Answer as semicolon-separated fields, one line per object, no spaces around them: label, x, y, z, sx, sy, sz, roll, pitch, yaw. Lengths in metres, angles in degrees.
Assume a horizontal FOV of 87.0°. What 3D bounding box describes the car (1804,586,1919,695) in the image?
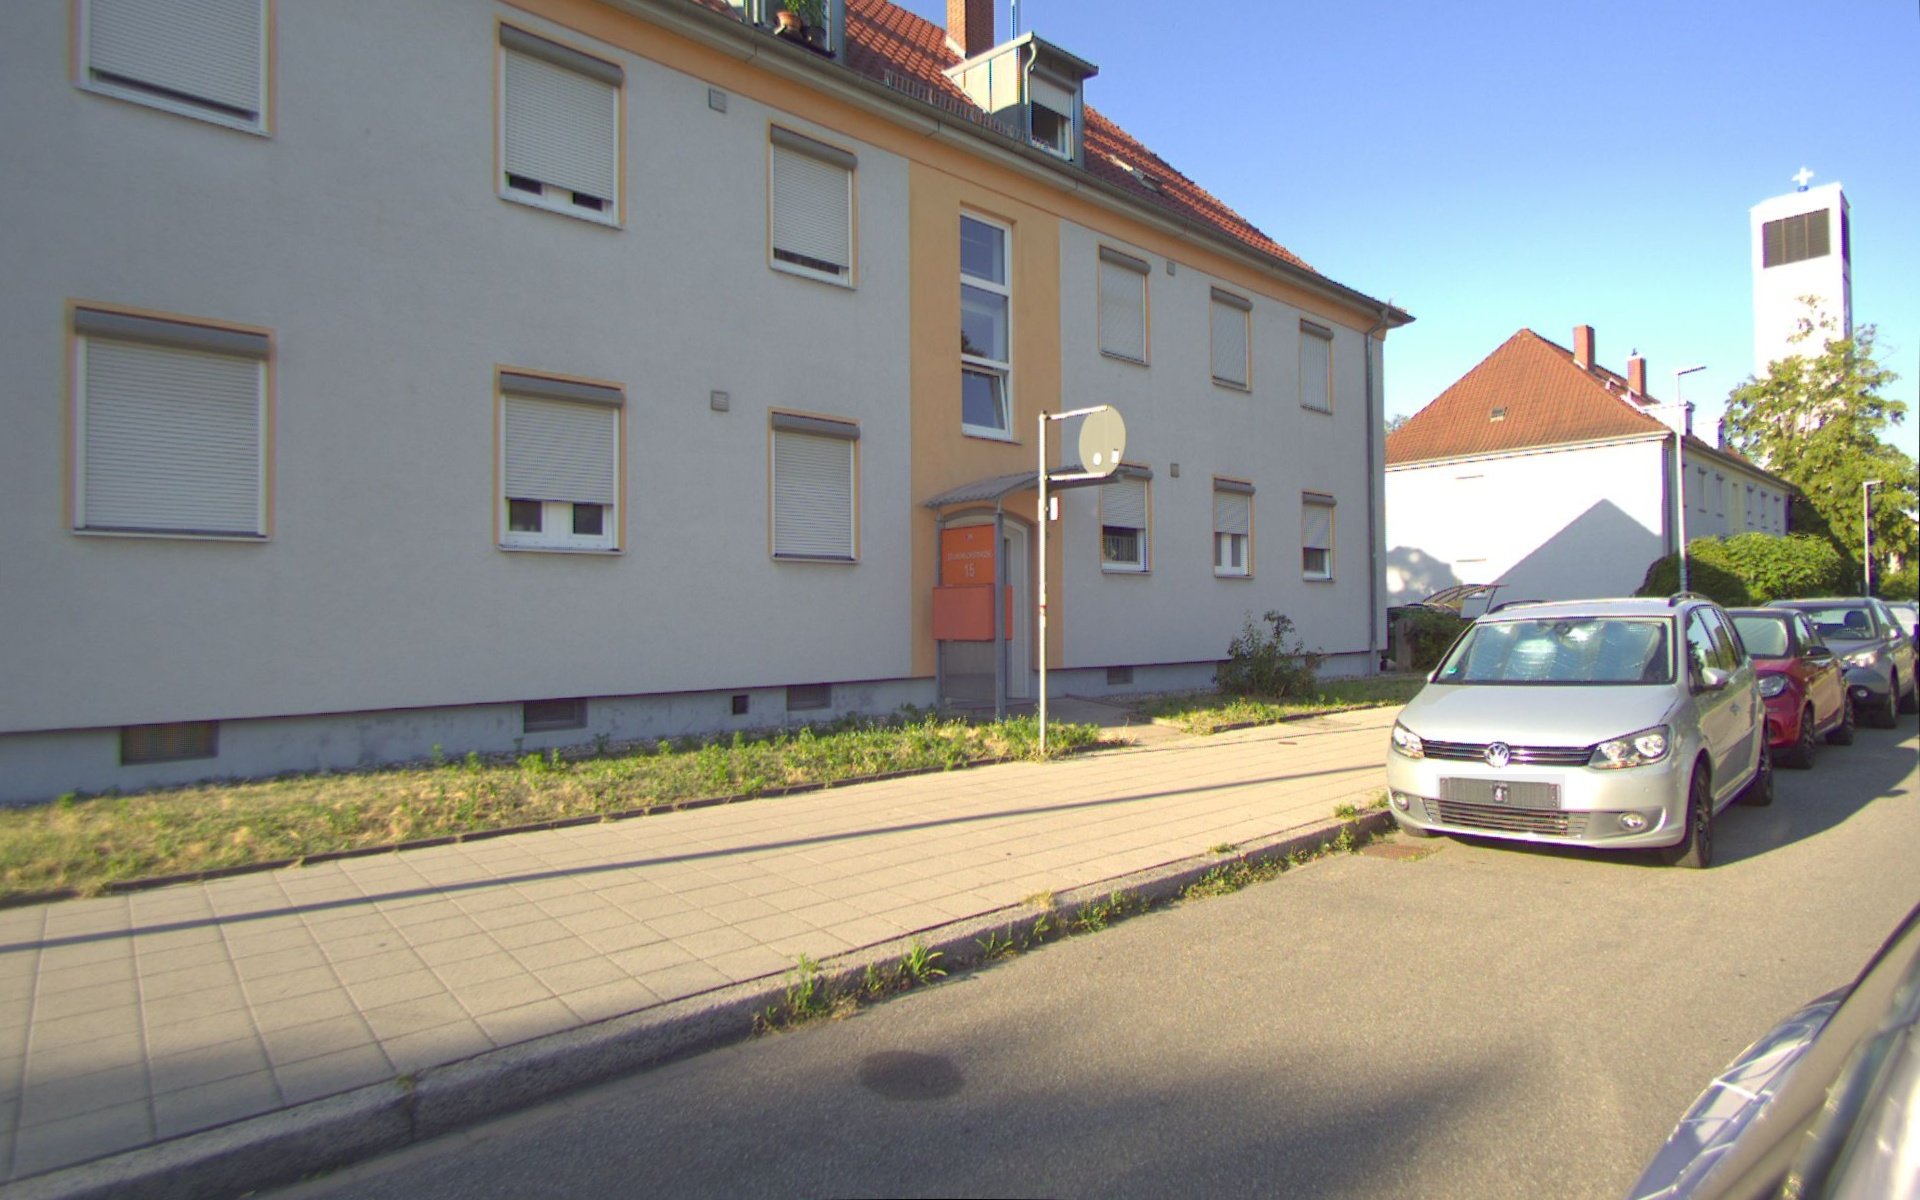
car;16.345;0.657;17.759;3.933;1.717;1.846;0;-3;-44

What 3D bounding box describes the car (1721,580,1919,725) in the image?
car;12.107;0.648;13.994;3.933;1.717;1.846;0;-3;-44

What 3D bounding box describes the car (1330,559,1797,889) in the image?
car;4.521;0.676;7.331;3.933;1.717;1.846;0;-3;-44

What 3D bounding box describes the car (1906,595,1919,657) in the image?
car;28.262;0.674;28.674;3.933;1.717;1.846;0;-3;-44

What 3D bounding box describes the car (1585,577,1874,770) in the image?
car;8.514;0.685;11.081;3.933;1.717;1.846;0;-3;-44

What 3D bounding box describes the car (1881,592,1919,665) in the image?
car;24.261;0.648;25.015;3.933;1.717;1.846;0;-3;-44

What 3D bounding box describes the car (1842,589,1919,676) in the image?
car;20.296;0.641;21.552;3.933;1.717;1.846;0;-3;-44
